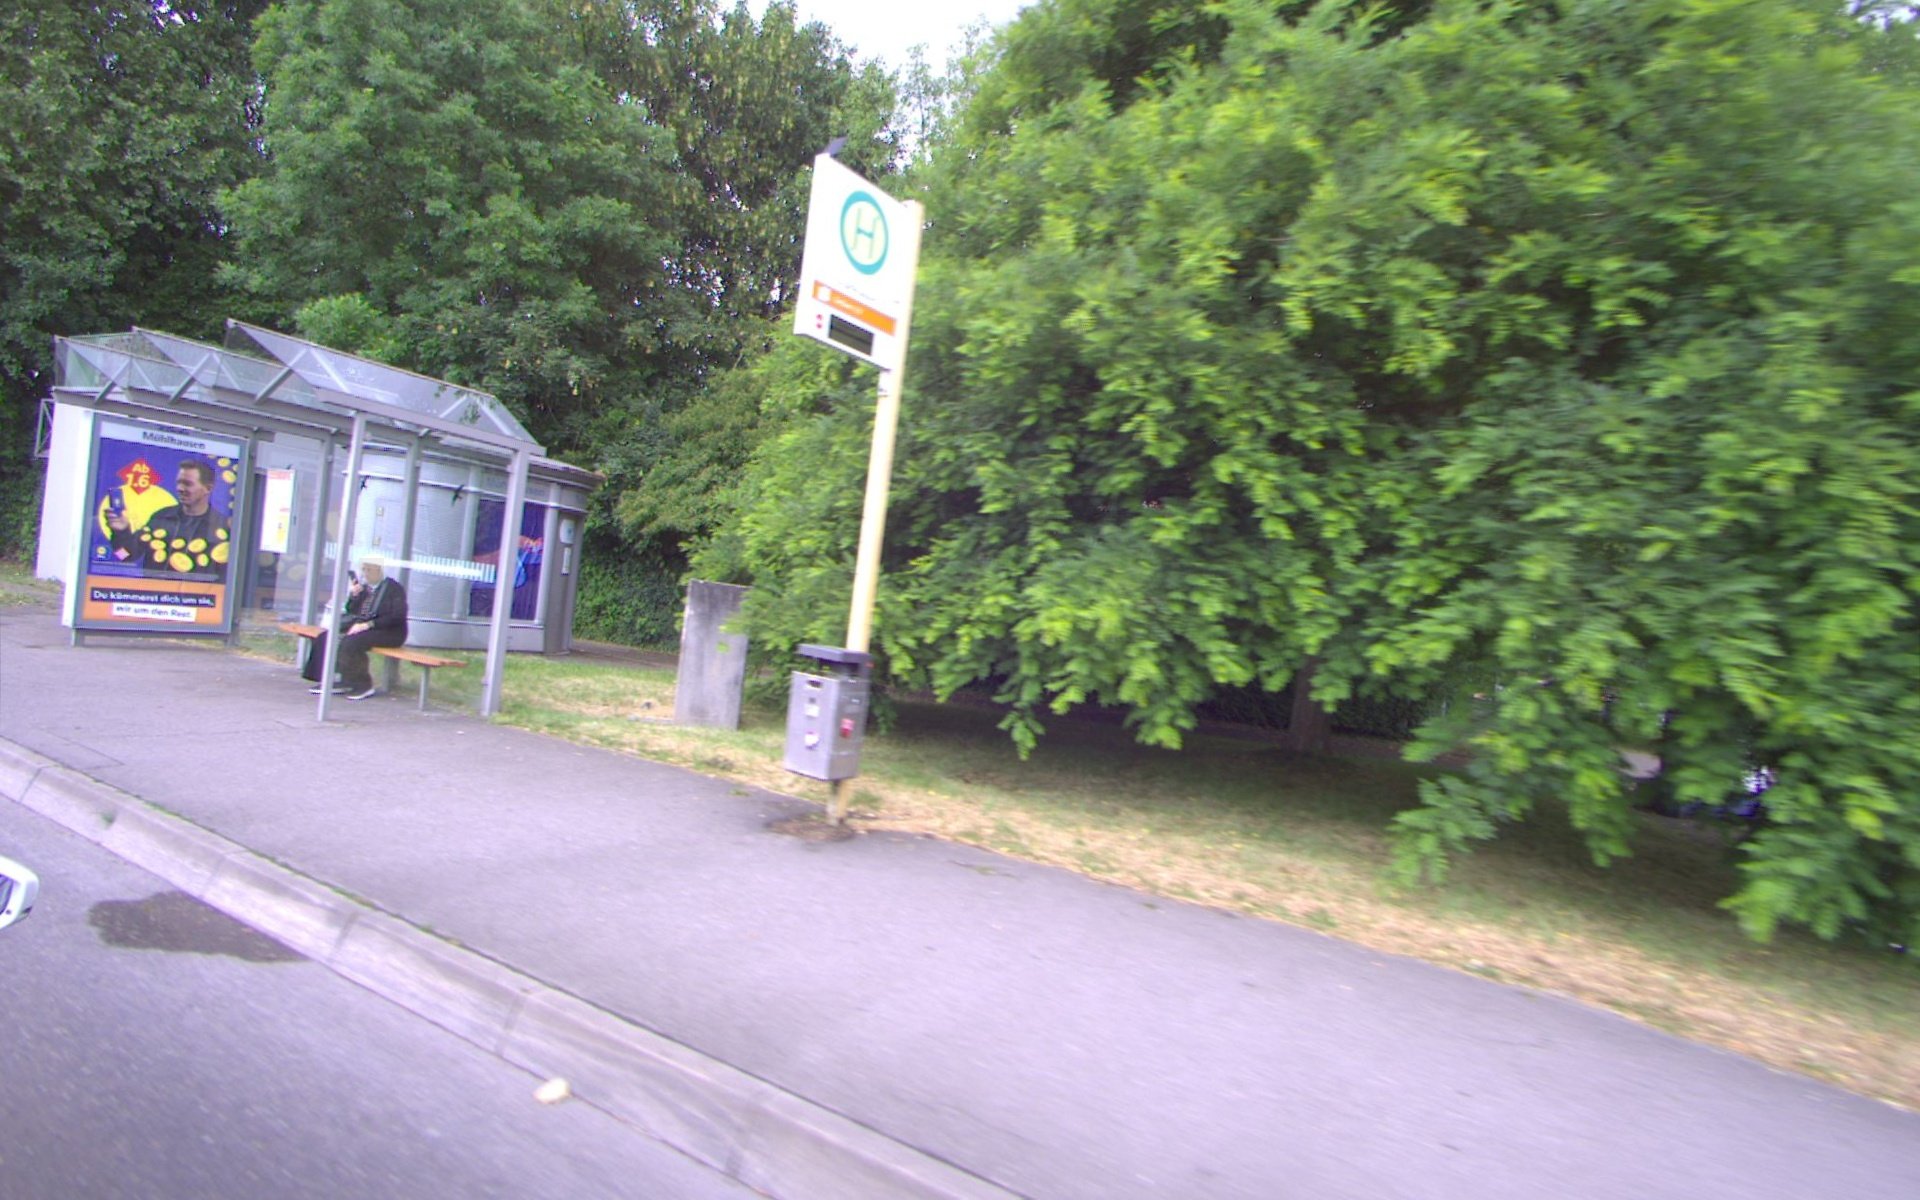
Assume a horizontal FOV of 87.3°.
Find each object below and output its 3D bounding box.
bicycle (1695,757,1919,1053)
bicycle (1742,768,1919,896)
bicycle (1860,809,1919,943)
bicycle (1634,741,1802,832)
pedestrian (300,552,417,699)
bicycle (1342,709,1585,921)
[{"bbox_3d":[4.039,1.332,4.845,0.536,0.936,1.869,8,1,32],"label":"bicycle"},{"bbox_3d":[8.149,2.101,8.983,1.708,0.866,0.478,7,-1,26],"label":"bicycle"},{"bbox_3d":[7.079,1.967,6.686,1.487,0.817,0.478,7,-1,26],"label":"bicycle"},{"bbox_3d":[9.967,2.437,13.289,1.628,0.866,0.478,7,-1,26],"label":"bicycle"},{"bbox_3d":[-5.145,0.222,8.618,0.537,1.173,0.601,6,1,31],"label":"pedestrian"},{"bbox_3d":[2.982,1.184,5.832,0.584,0.950,2.033,6,-2,45],"label":"bicycle"}]
